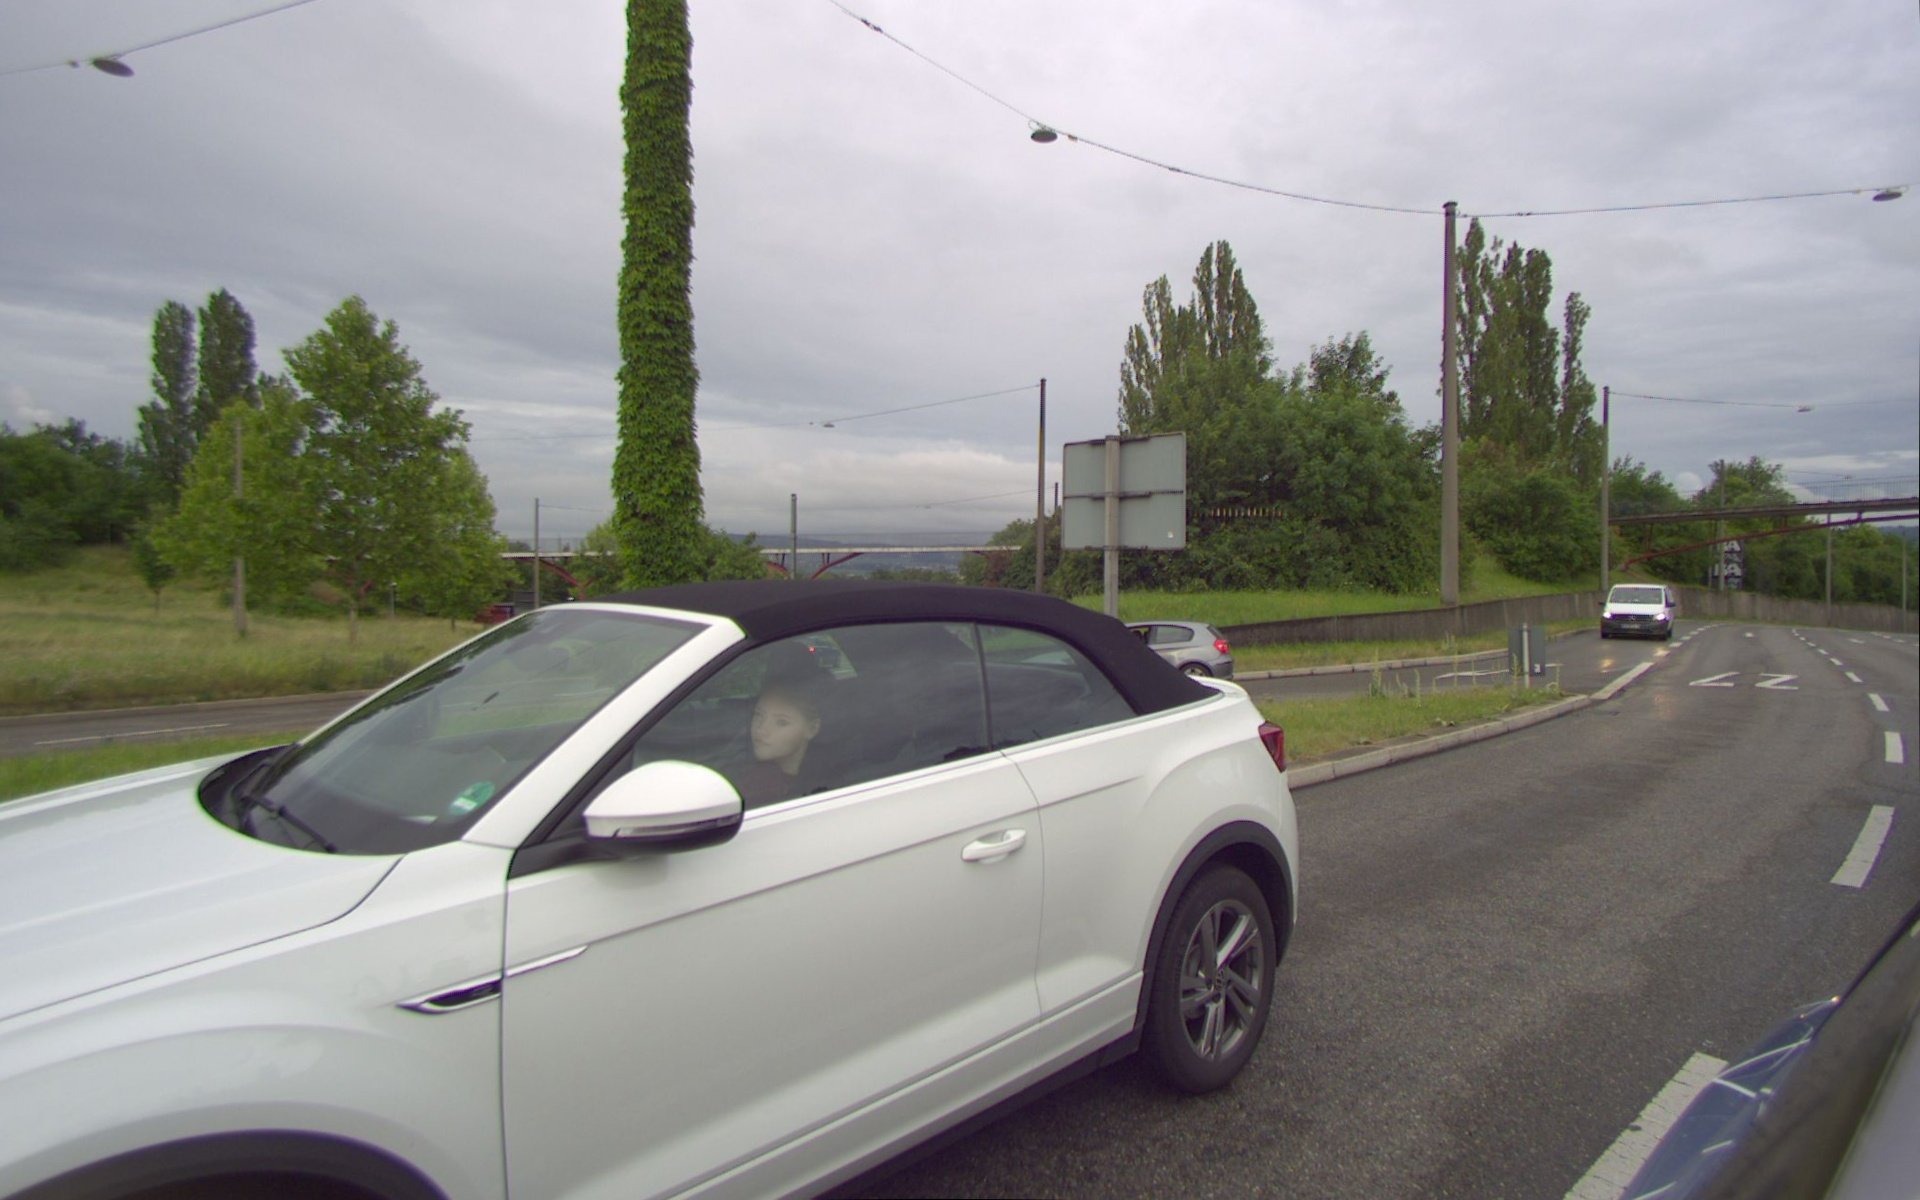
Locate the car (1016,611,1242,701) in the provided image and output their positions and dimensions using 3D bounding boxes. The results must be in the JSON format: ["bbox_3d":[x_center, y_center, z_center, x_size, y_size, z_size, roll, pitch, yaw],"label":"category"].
[{"bbox_3d":[3.145,1.036,19.237,4.013,1.437,1.682,-2,1,8],"label":"car"}]

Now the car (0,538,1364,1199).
[{"bbox_3d":[-0.649,0.690,2.758,4.160,1.572,1.714,-1,1,-44],"label":"car"}]

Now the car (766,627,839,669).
[{"bbox_3d":[-6.498,1.953,42.195,1.674,1.494,4.278,0,1,11],"label":"car"}]

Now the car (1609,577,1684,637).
[{"bbox_3d":[23.746,0.166,35.008,1.987,1.871,4.763,2,2,35],"label":"car"}]
